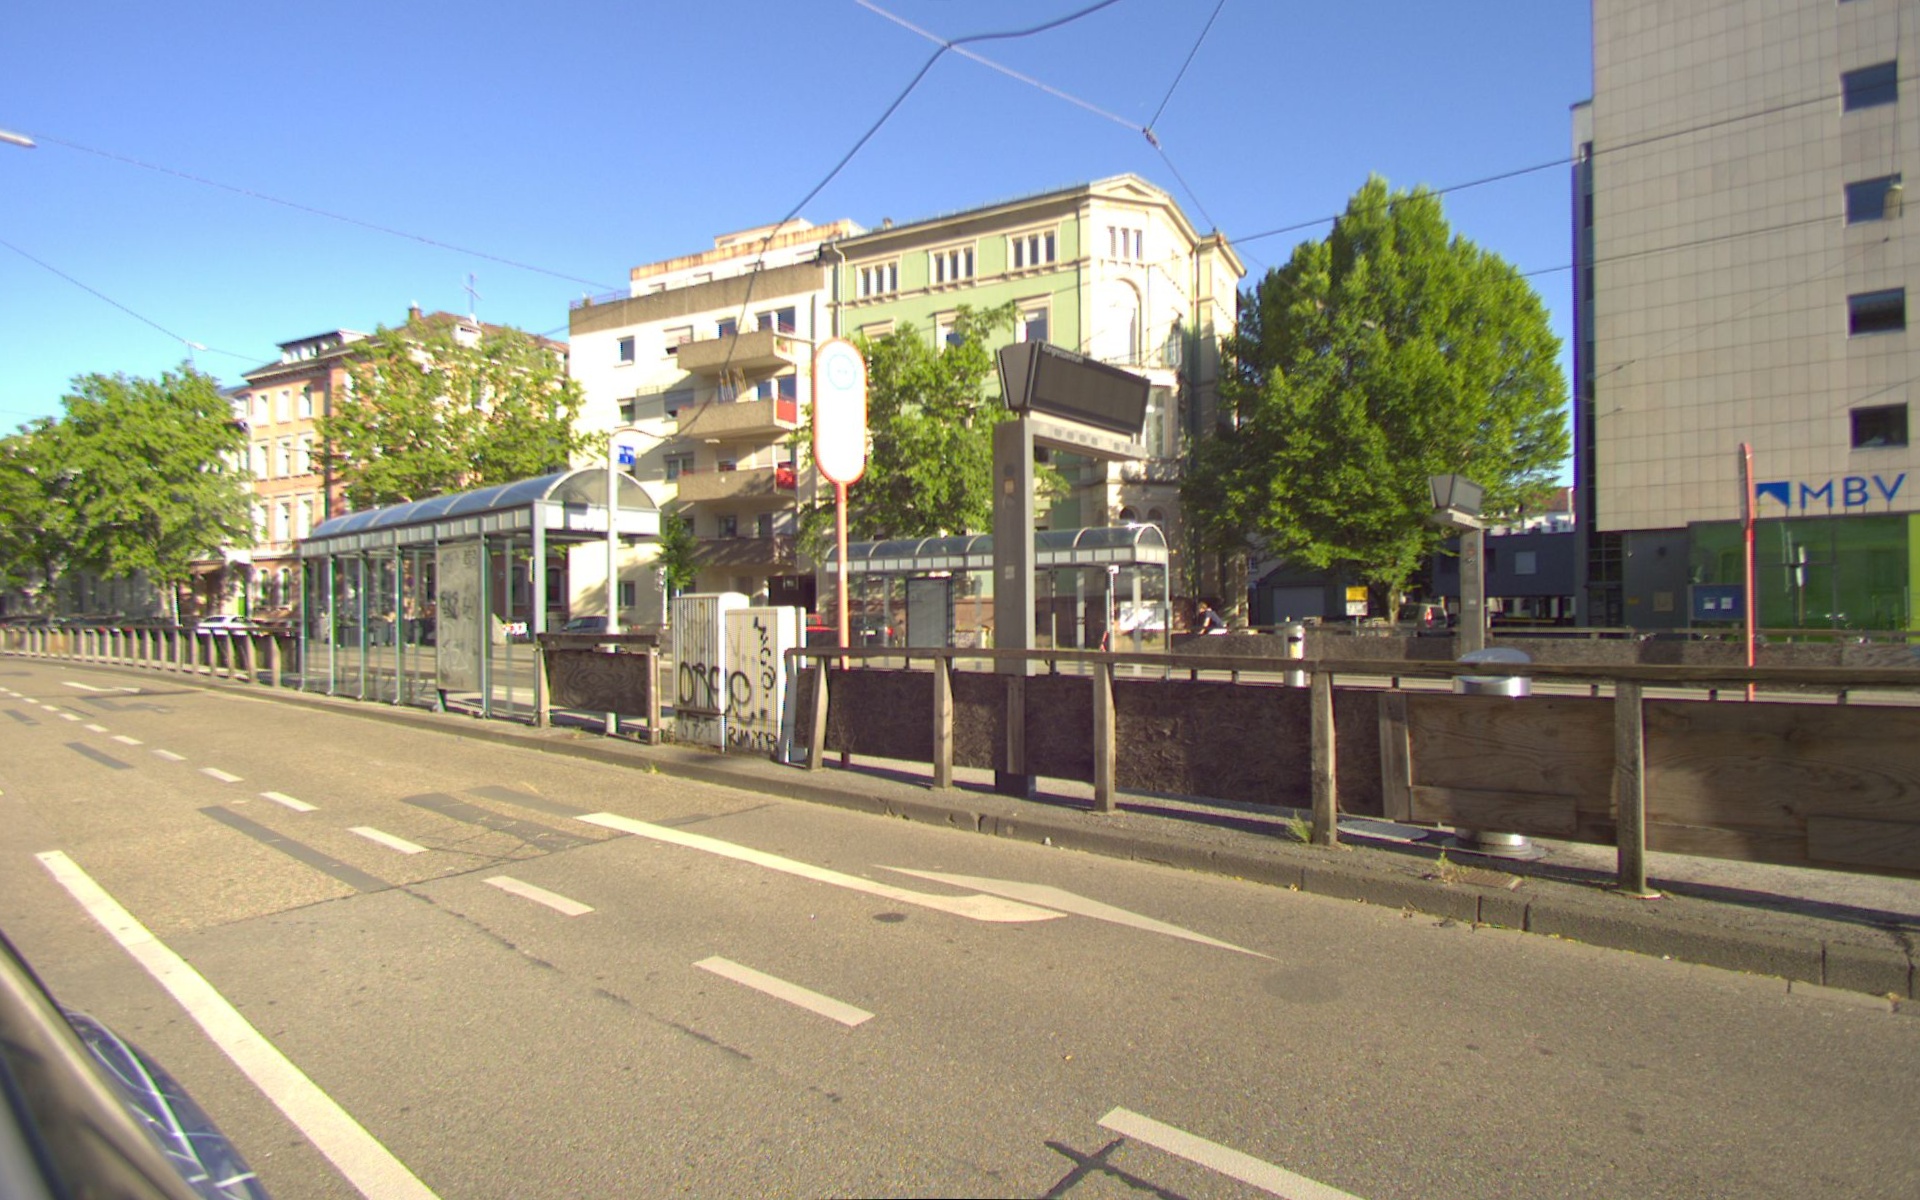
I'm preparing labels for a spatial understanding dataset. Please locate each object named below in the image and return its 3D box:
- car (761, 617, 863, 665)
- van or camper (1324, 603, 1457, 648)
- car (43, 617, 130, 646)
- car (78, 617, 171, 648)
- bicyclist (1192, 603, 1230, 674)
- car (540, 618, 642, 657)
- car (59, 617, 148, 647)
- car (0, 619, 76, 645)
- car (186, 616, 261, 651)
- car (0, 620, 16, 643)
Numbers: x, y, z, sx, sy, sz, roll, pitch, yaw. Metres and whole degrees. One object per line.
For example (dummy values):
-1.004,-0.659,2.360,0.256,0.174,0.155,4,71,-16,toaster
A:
-4.998,1.367,34.698,1.763,1.547,3.763,-1,-2,23,car
15.508,0.886,36.554,3.998,1.417,1.943,2,0,41,van or camper
-54.297,1.939,62.969,2.001,1.697,3.942,-2,-2,44,car
-47.972,1.830,58.167,2.001,1.697,3.942,-2,-2,44,car
6.370,0.976,25.699,0.770,1.774,0.529,-1,-2,41,bicyclist
-14.000,1.416,38.404,3.498,1.406,1.602,-1,-2,22,car
-51.290,1.893,60.640,2.001,1.697,3.942,-2,-2,44,car
-59.606,2.065,65.280,3.811,1.604,2.001,1,-2,-45,car
-39.517,1.757,54.385,1.966,1.736,4.012,0,1,-15,car
-68.095,2.198,70.126,2.001,1.604,3.812,-2,-2,44,car
